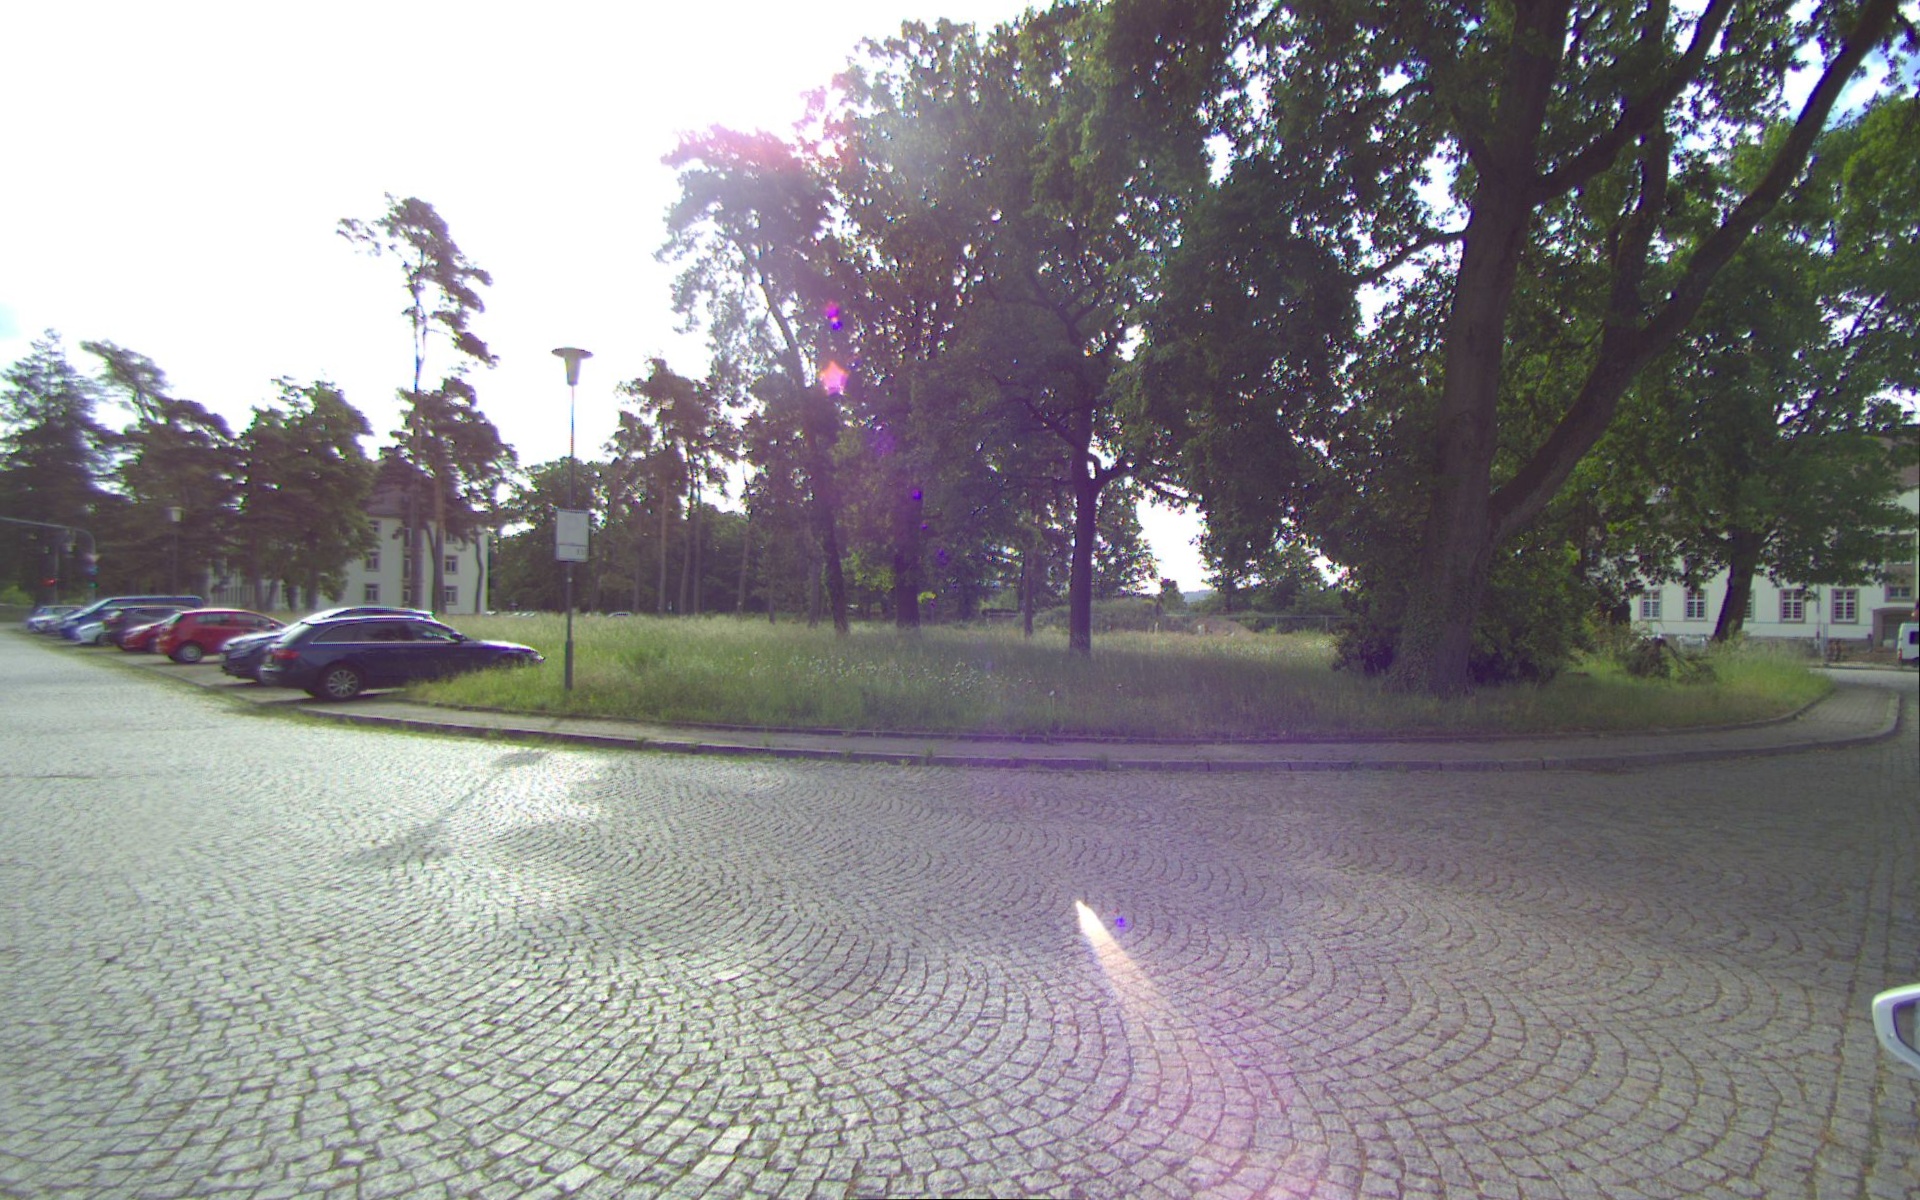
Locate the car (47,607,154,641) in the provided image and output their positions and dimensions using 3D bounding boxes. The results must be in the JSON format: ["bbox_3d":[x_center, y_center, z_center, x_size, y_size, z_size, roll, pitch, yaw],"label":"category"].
[{"bbox_3d":[-40.509,1.110,47.406,1.592,1.440,3.587,1,1,36],"label":"car"}]

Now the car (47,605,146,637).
[{"bbox_3d":[-44.292,1.065,51.549,1.612,1.436,3.560,1,2,36],"label":"car"}]

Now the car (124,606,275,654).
[{"bbox_3d":[-25.966,0.990,34.381,1.684,1.540,3.930,-1,-1,43],"label":"car"}]

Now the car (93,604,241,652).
[{"bbox_3d":[-28.301,0.984,35.944,1.794,1.624,3.899,0,-2,41],"label":"car"}]

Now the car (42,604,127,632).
[{"bbox_3d":[-51.076,1.031,58.645,1.601,1.451,3.444,1,2,34],"label":"car"}]

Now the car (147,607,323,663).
[{"bbox_3d":[-20.792,0.956,28.920,1.648,1.498,3.874,0,0,43],"label":"car"}]

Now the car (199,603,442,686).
[{"bbox_3d":[-13.684,0.897,21.678,1.764,1.594,4.129,1,0,42],"label":"car"}]

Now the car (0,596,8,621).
[{"bbox_3d":[-101.122,0.943,102.226,2.726,2.597,5.774,1,2,38],"label":"car"}]

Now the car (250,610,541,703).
[{"bbox_3d":[-10.245,0.937,18.452,4.414,1.499,1.661,0,-1,-43],"label":"car"}]

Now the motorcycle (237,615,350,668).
[{"bbox_3d":[-17.338,1.058,26.172,0.733,1.305,2.349,0,-1,44],"label":"motorcycle"}]

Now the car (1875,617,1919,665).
[{"bbox_3d":[48.760,2.075,49.399,5.456,2.237,2.113,1,3,44],"label":"car"}]

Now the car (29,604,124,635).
[{"bbox_3d":[-47.708,1.033,54.269,1.576,1.507,3.561,1,2,35],"label":"car"}]

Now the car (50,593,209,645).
[{"bbox_3d":[-34.643,0.737,42.011,2.130,1.891,4.810,1,2,41],"label":"car"}]

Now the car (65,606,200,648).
[{"bbox_3d":[-32.932,1.037,40.044,1.717,1.412,3.911,1,2,42],"label":"car"}]
